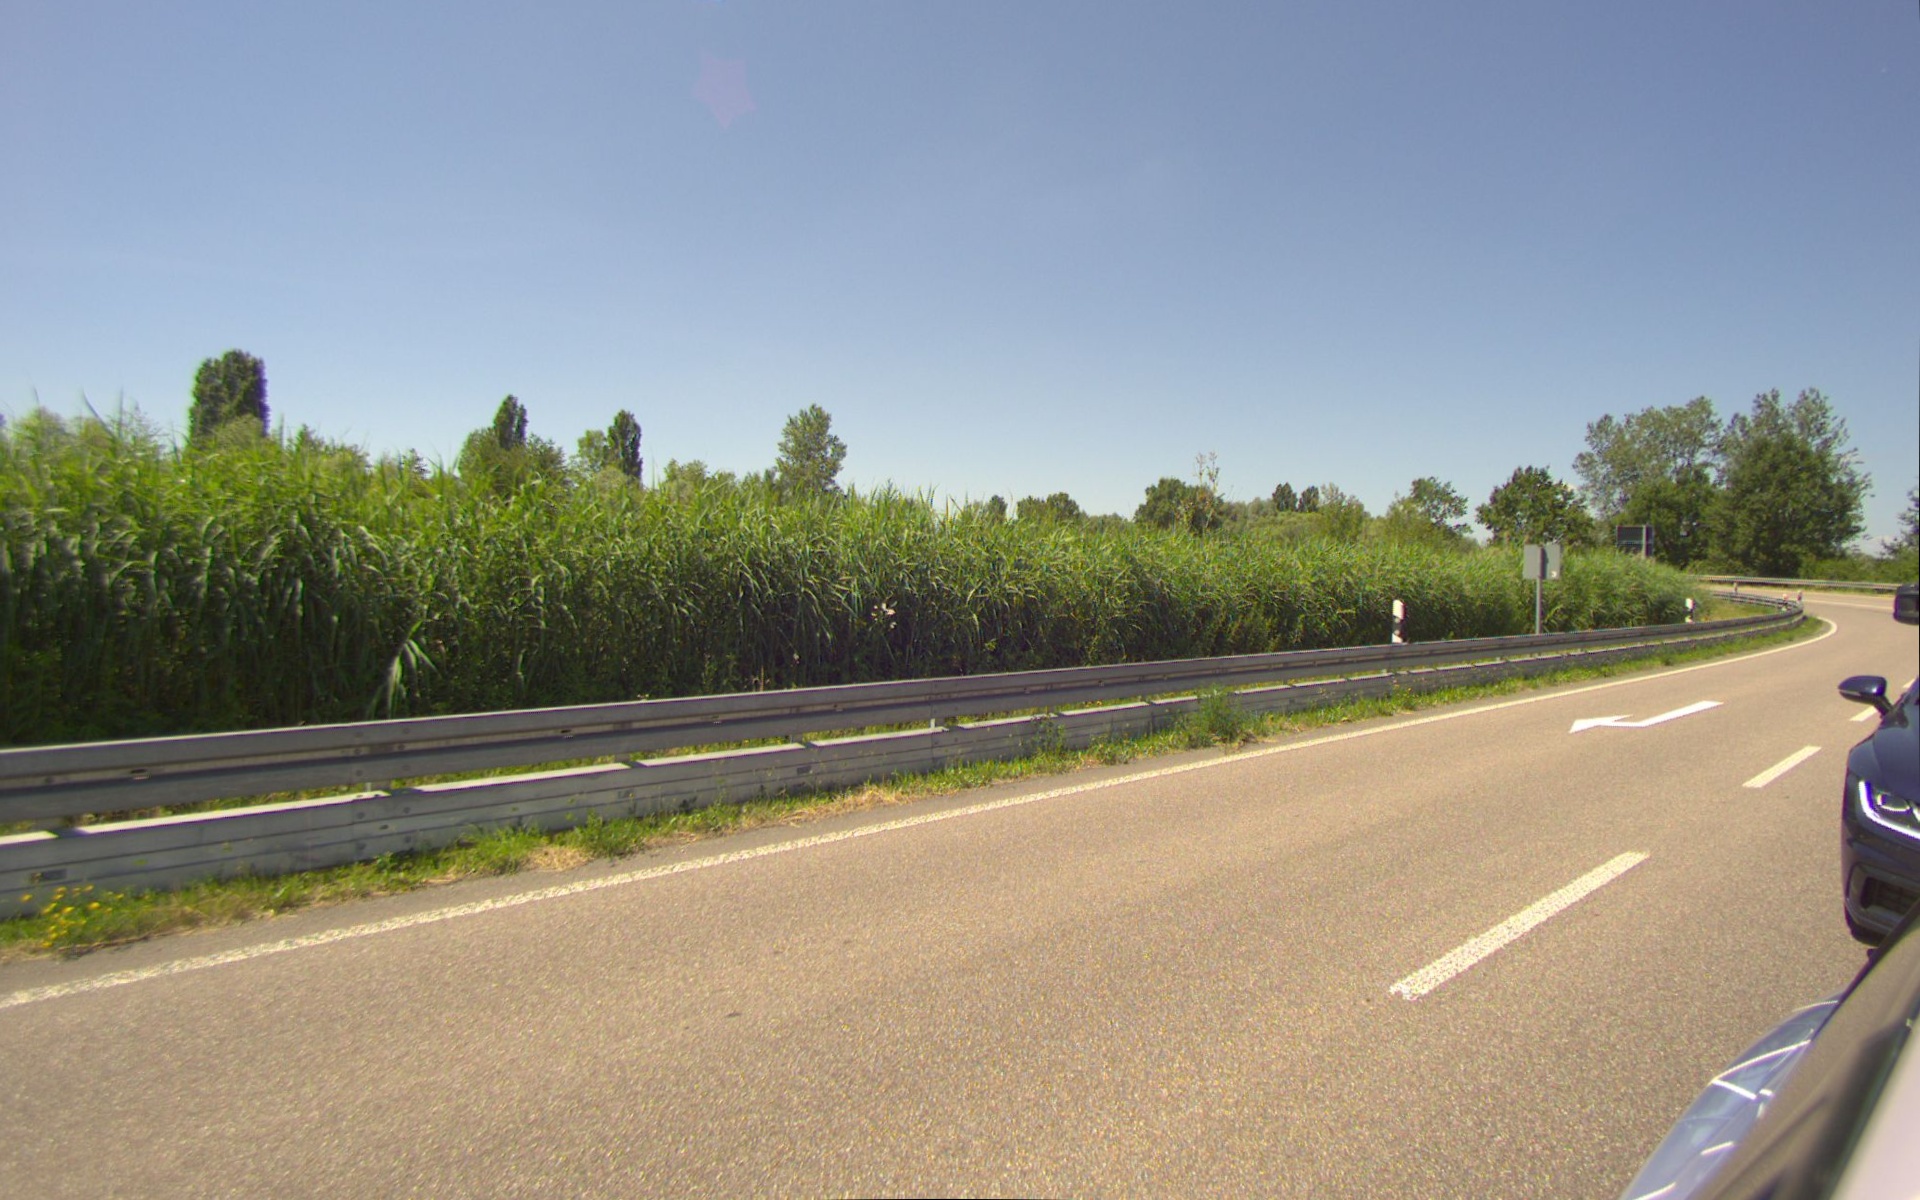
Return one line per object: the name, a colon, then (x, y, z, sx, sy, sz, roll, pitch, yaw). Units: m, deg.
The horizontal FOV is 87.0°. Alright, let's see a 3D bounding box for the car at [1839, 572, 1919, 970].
car: (5.642, 0.623, 4.663, 4.338, 1.481, 1.818, -1, 1, -41)
